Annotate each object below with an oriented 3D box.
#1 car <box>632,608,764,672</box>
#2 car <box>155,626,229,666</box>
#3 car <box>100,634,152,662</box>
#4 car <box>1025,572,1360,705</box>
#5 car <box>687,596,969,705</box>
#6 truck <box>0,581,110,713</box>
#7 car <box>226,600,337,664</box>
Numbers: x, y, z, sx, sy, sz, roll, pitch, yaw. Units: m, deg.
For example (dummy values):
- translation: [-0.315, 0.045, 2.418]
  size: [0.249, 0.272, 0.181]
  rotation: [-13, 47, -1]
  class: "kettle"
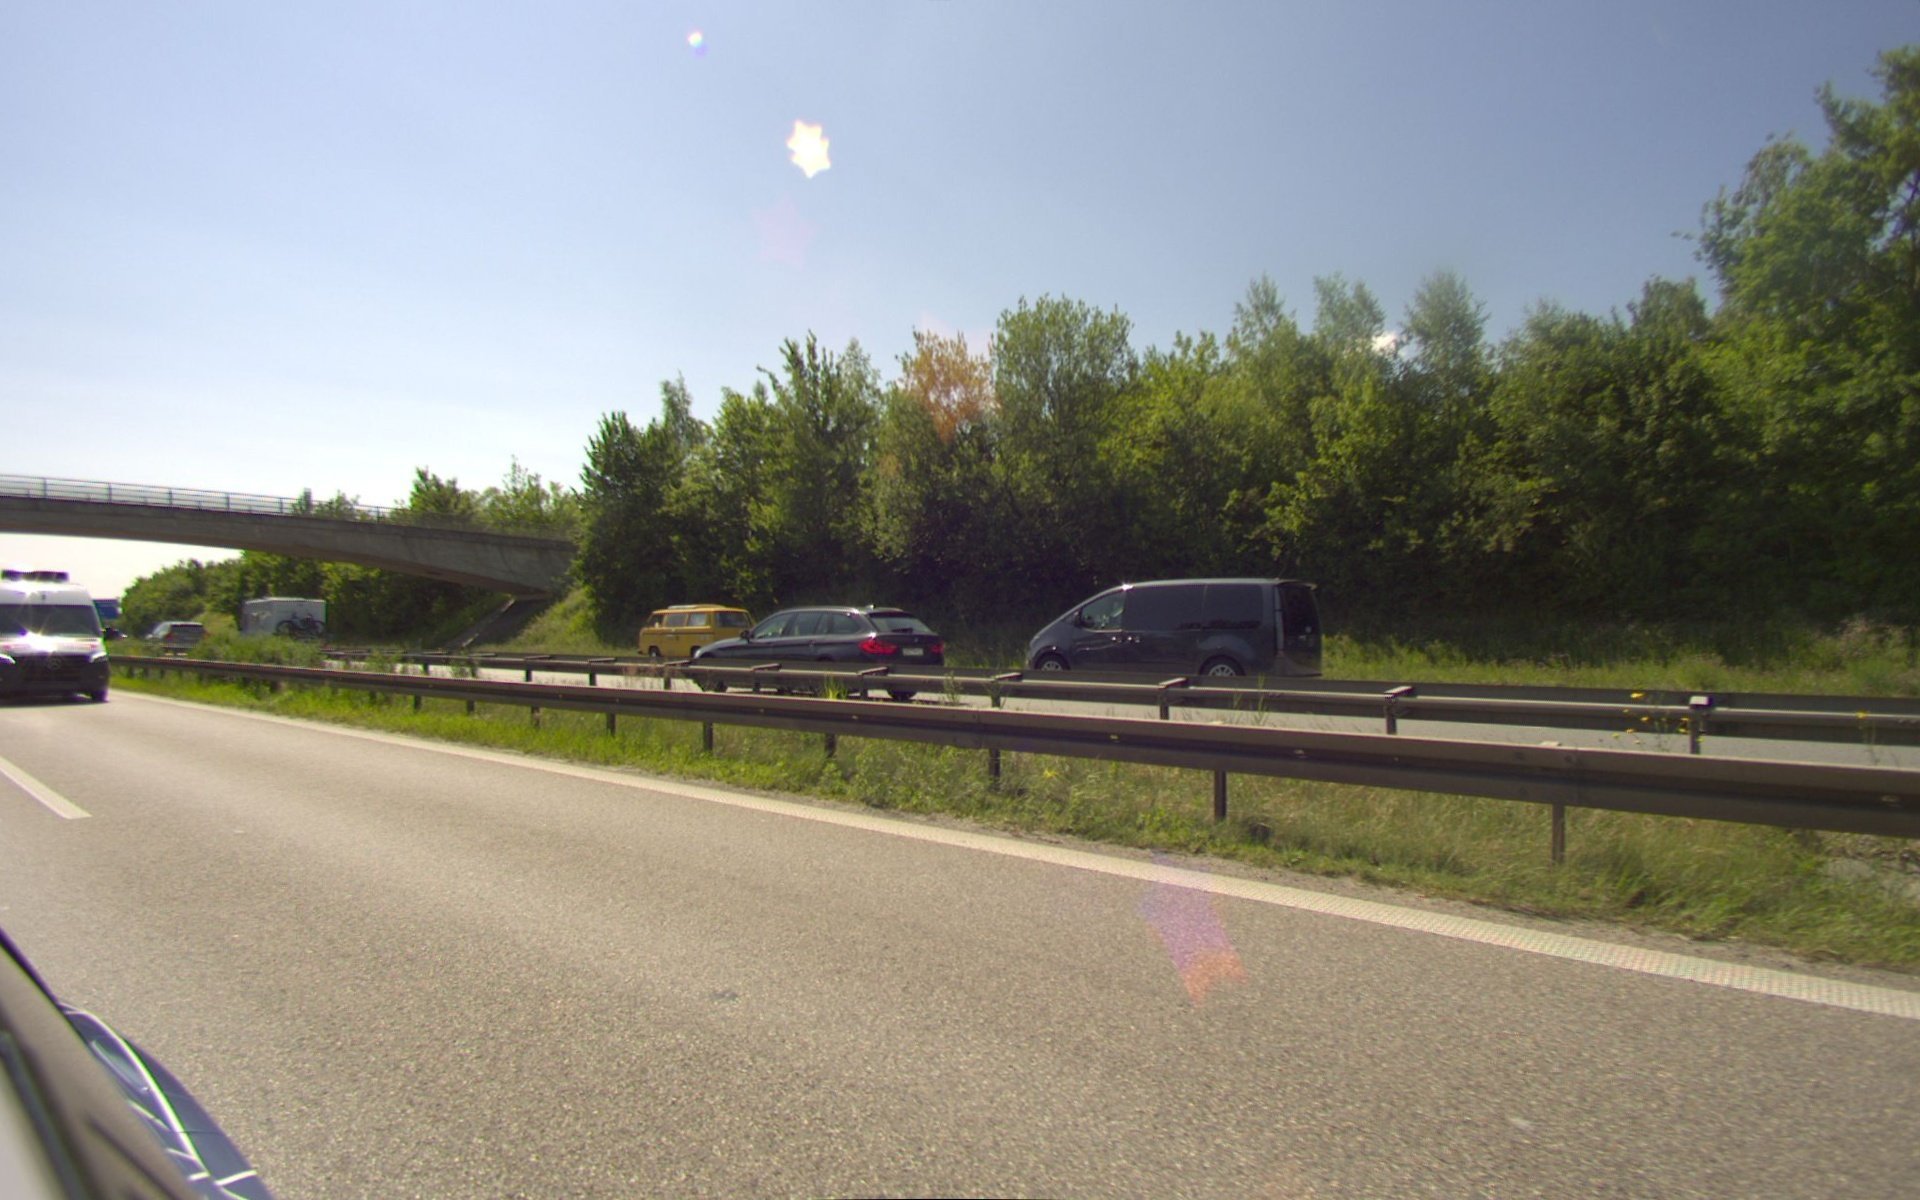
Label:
- translation: [-8.620, 1.298, 33.133]
  size: [4.651, 1.967, 1.886]
  rotation: [-2, -3, 41]
  class: "car"
- translation: [-34.172, 2.006, 45.007]
  size: [3.998, 1.630, 1.872]
  rotation: [-1, 0, 41]
  class: "car"
- translation: [-54.768, 3.121, 66.431]
  size: [4.310, 1.682, 1.972]
  rotation: [-2, -2, 42]
  class: "car"
- translation: [3.770, 0.628, 17.121]
  size: [5.194, 1.927, 1.973]
  rotation: [-2, -2, 41]
  class: "car"
- translation: [-2.272, 0.794, 16.469]
  size: [4.853, 1.533, 1.815]
  rotation: [-2, -3, 41]
  class: "car"
- translation: [-20.766, 0.995, 22.422]
  size: [6.688, 2.562, 1.973]
  rotation: [-2, -2, 41]
  class: "truck"
- translation: [-33.633, 1.572, 50.096]
  size: [6.988, 2.992, 2.522]
  rotation: [-2, -2, 38]
  class: "car"
